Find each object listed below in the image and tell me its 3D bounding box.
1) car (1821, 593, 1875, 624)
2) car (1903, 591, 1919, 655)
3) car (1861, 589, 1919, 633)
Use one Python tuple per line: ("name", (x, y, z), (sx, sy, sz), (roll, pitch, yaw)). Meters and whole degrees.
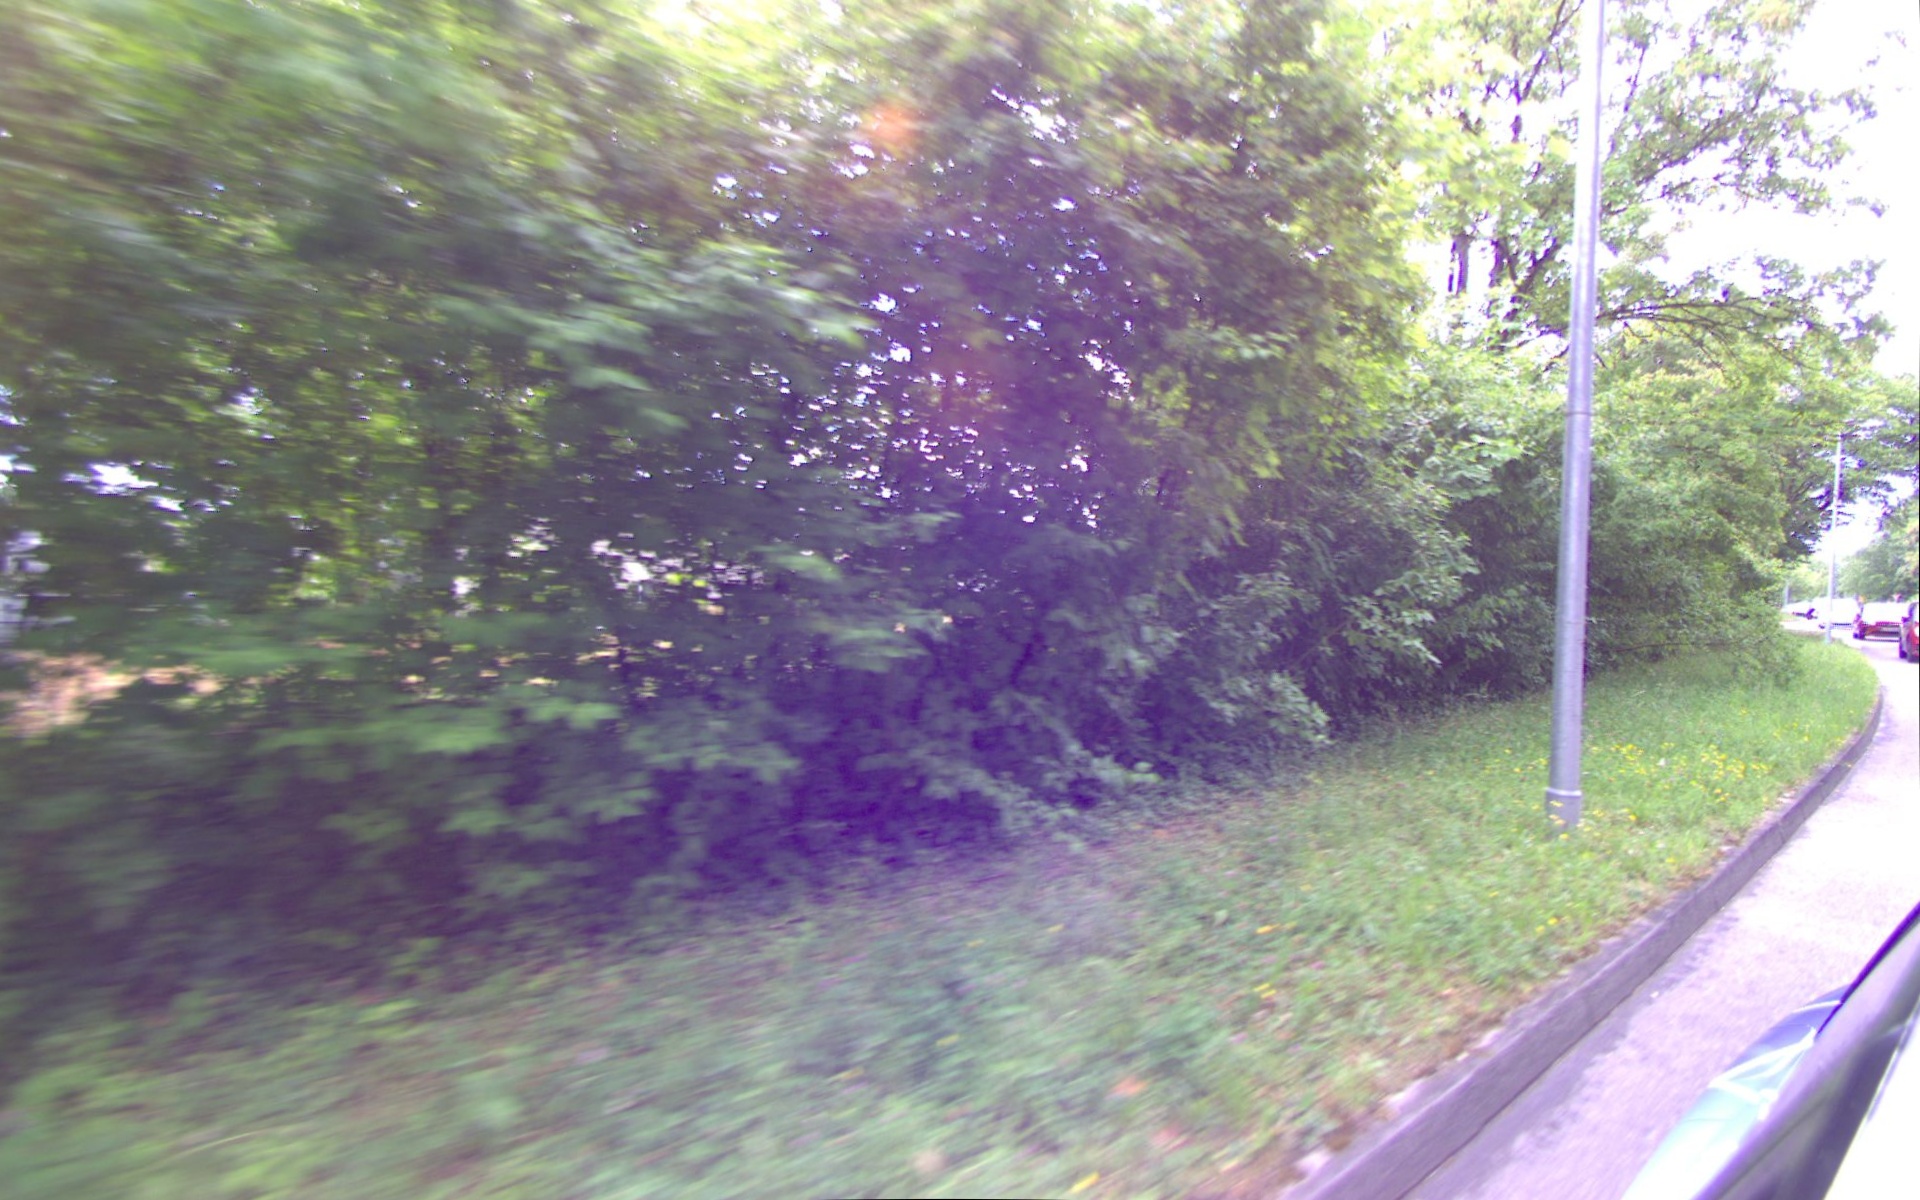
("car", (49.395, 0.450, 56.352), (1.912, 1.616, 3.845), (3, 2, 37))
("car", (25.979, 0.593, 26.206), (1.852, 1.638, 4.415), (1, 0, 37))
("car", (37.303, 0.426, 40.256), (1.992, 1.593, 3.942), (4, 2, 40))
